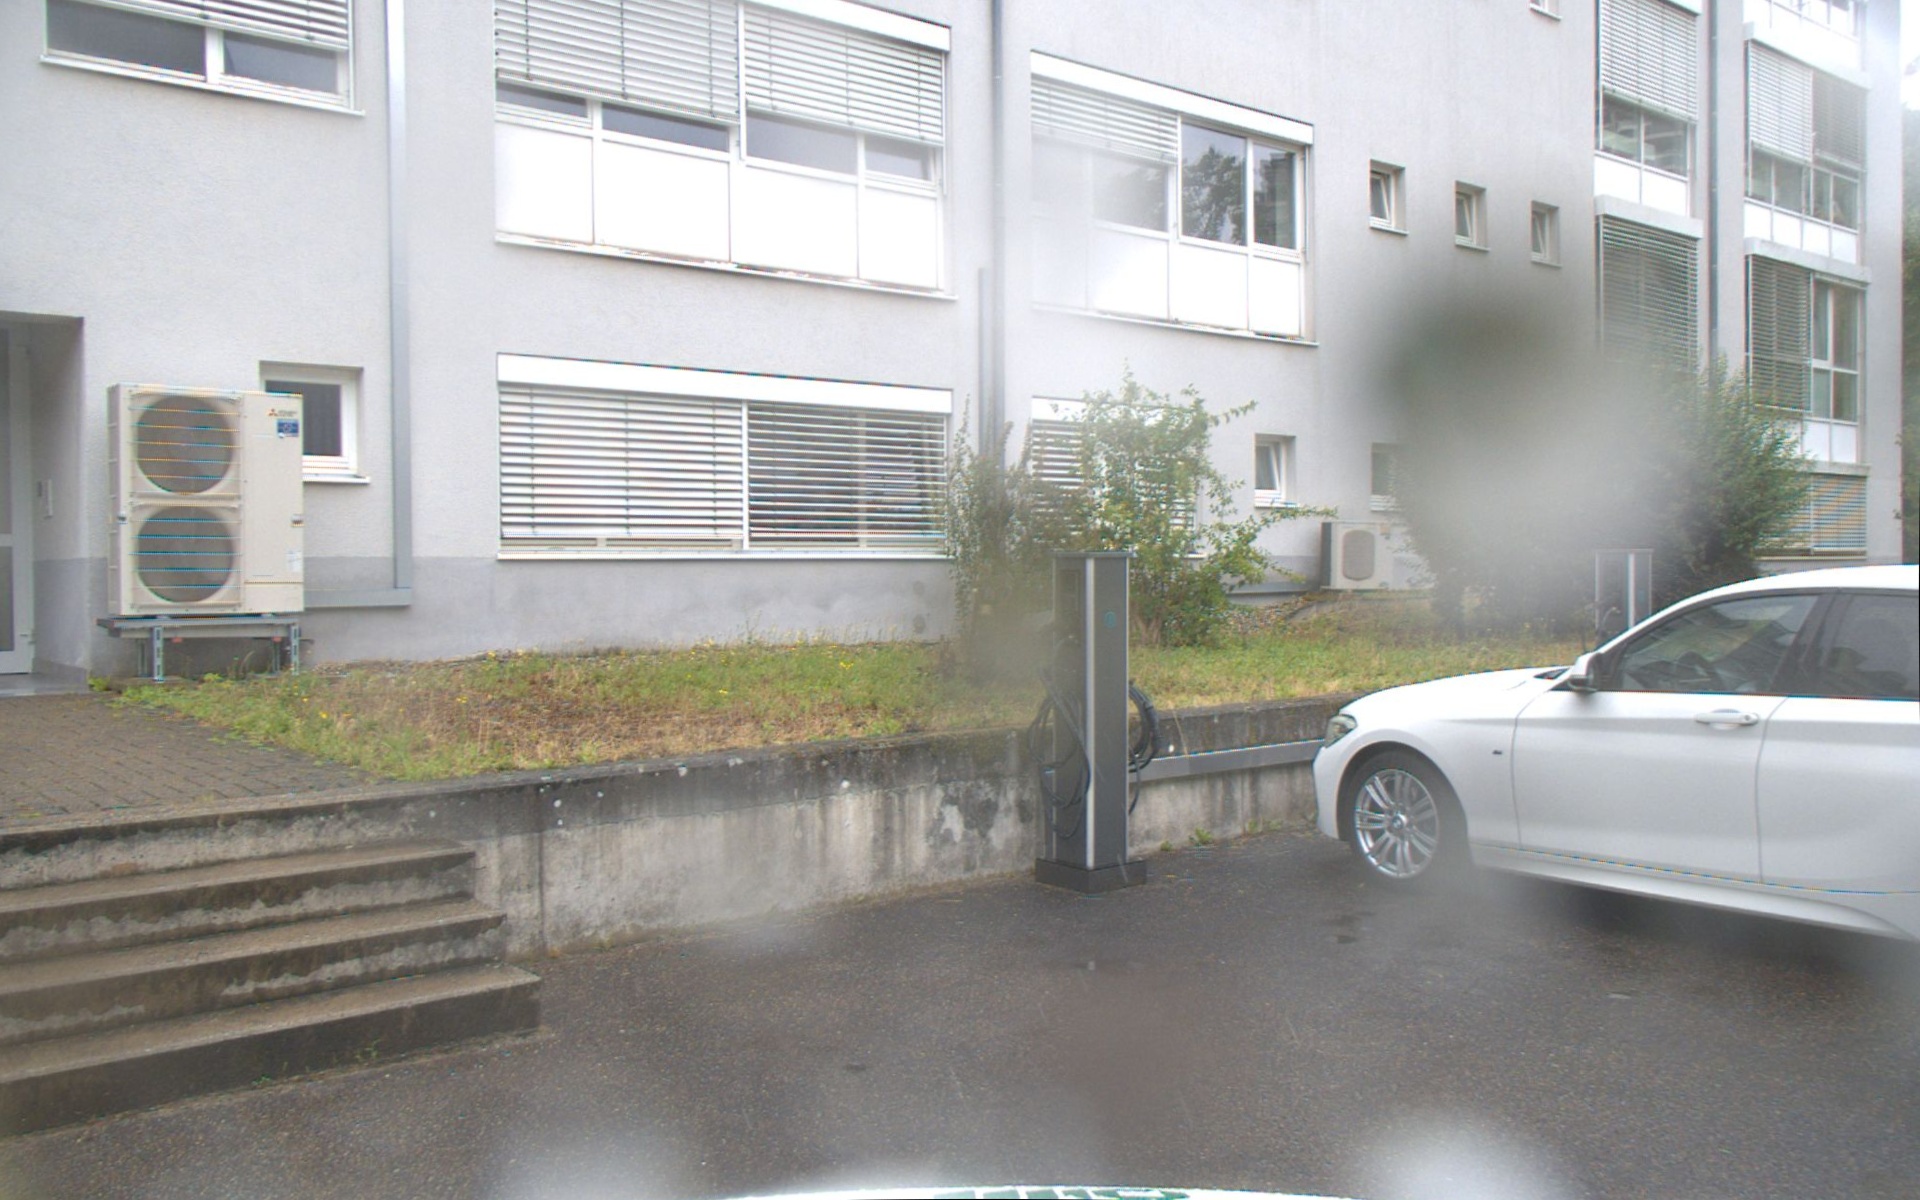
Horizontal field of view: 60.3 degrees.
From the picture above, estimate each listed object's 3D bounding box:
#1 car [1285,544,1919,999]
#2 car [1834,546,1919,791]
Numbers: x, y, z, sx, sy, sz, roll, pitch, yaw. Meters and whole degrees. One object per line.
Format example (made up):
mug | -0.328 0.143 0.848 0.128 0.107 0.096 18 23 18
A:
car | 3.545 0.559 6.677 1.979 1.515 4.165 0 1 -37
car | 7.650 0.429 9.587 1.979 1.515 4.165 0 1 -37
